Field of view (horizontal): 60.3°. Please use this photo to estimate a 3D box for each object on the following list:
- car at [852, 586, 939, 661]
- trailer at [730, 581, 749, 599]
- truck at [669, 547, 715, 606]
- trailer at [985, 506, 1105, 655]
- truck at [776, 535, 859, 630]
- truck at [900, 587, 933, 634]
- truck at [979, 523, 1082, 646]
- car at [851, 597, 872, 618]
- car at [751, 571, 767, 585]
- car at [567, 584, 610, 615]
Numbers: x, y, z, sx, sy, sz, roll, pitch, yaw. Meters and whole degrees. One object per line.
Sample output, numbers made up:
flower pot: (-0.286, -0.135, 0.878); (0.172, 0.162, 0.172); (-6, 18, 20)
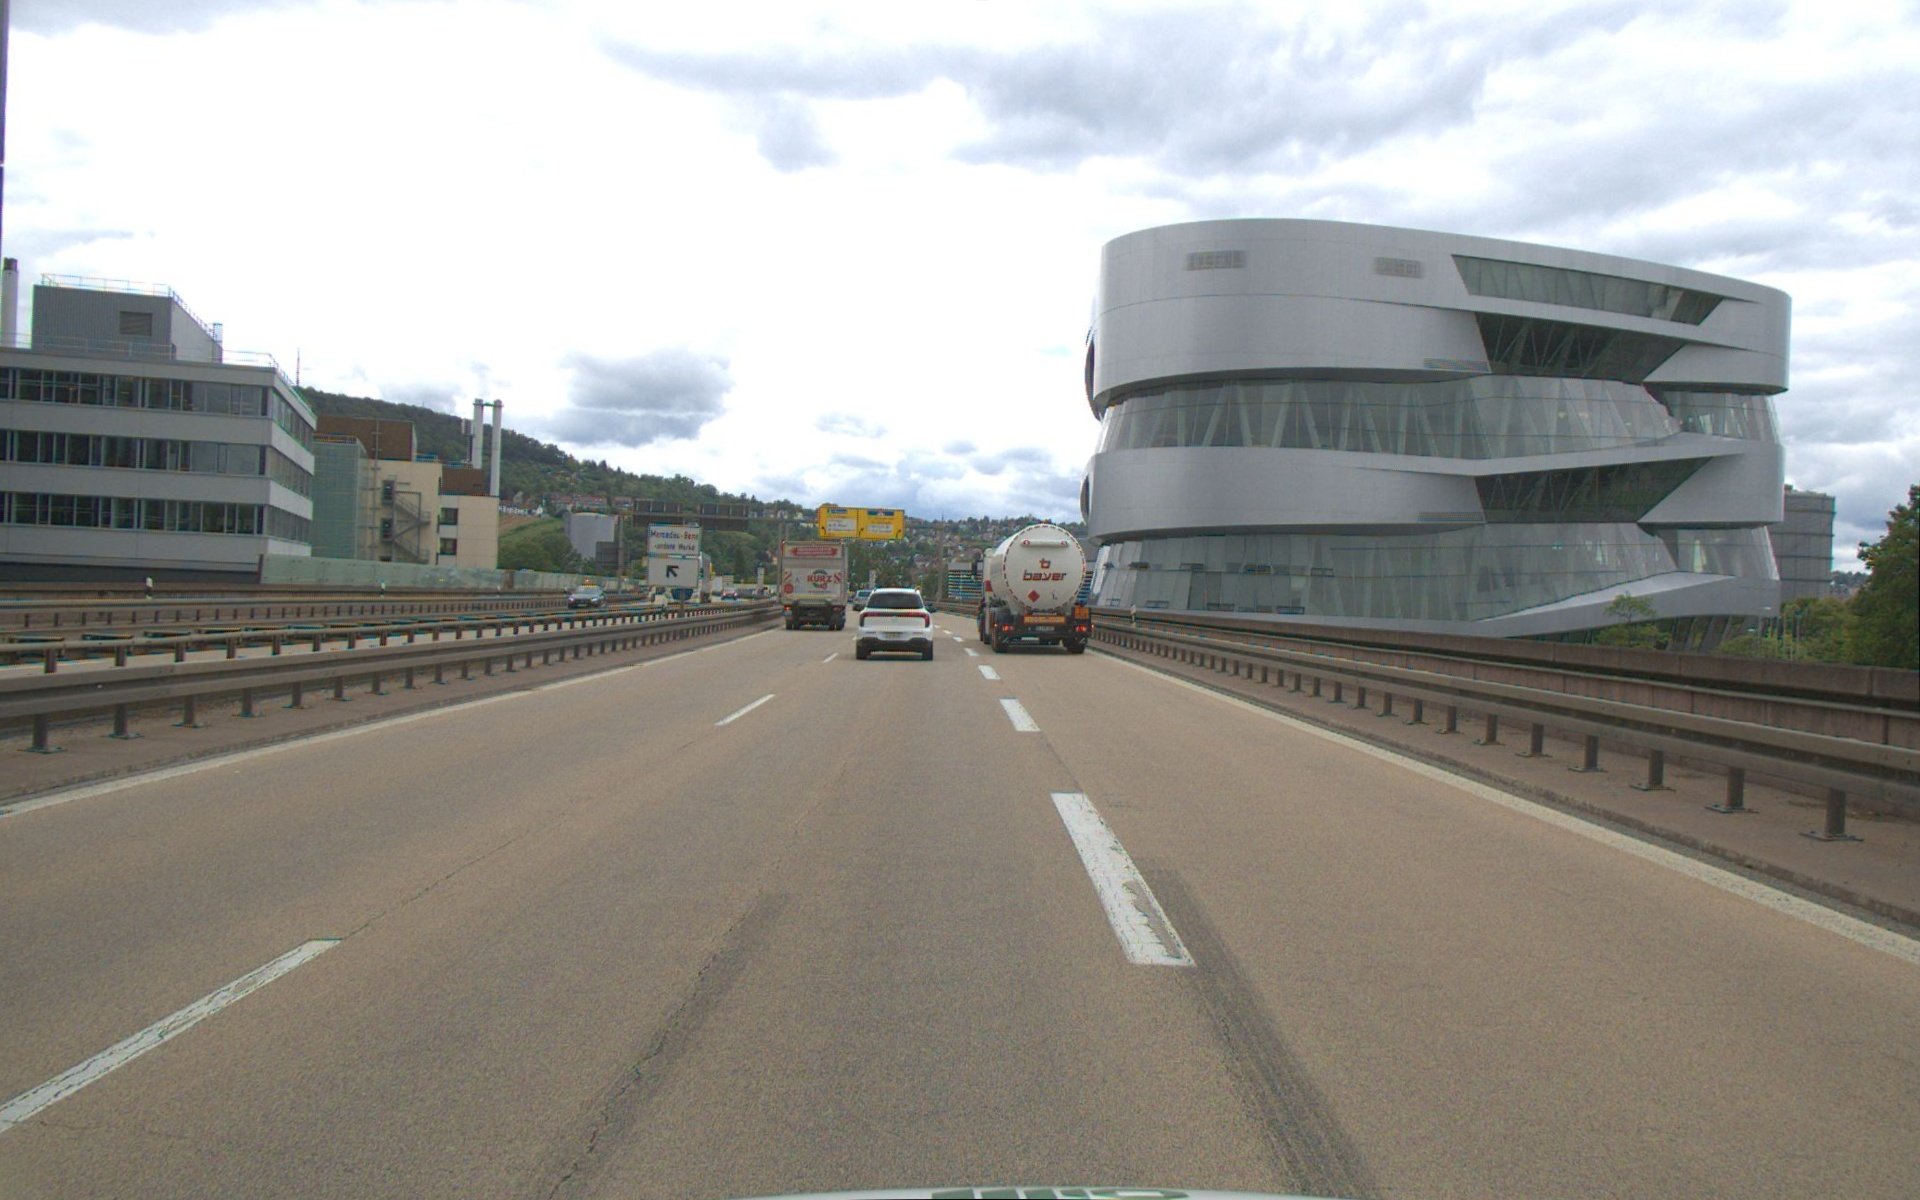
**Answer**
car: (-1.511, 0.553, 40.334); (1.953, 1.704, 4.407); (1, -1, 0)
trailer: (-26.326, -1.206, 197.269); (1.954, 2.049, 3.997); (1, -1, -4)
truck: (-19.506, -1.632, 120.742); (2.717, 4.151, 5.642); (1, -1, -3)
trailer: (2.285, -0.471, 47.400); (2.994, 3.856, 8.303); (1, 0, 0)
truck: (-5.970, -0.668, 70.600); (2.995, 3.755, 8.300); (1, 0, -2)
truck: (-4.458, 1.076, 167.875); (2.996, 4.642, 8.297); (1, -1, -4)
truck: (2.193, -0.436, 53.776); (2.953, 3.721, 6.271); (1, -1, -1)
car: (-8.270, 0.655, 138.716); (1.649, 1.679, 4.356); (2, -1, -3)
car: (-25.214, -2.800, 207.664); (1.955, 1.634, 4.800); (1, -1, -6)
car: (-21.060, -0.031, 93.842); (1.649, 1.679, 4.356); (2, -1, -3)
